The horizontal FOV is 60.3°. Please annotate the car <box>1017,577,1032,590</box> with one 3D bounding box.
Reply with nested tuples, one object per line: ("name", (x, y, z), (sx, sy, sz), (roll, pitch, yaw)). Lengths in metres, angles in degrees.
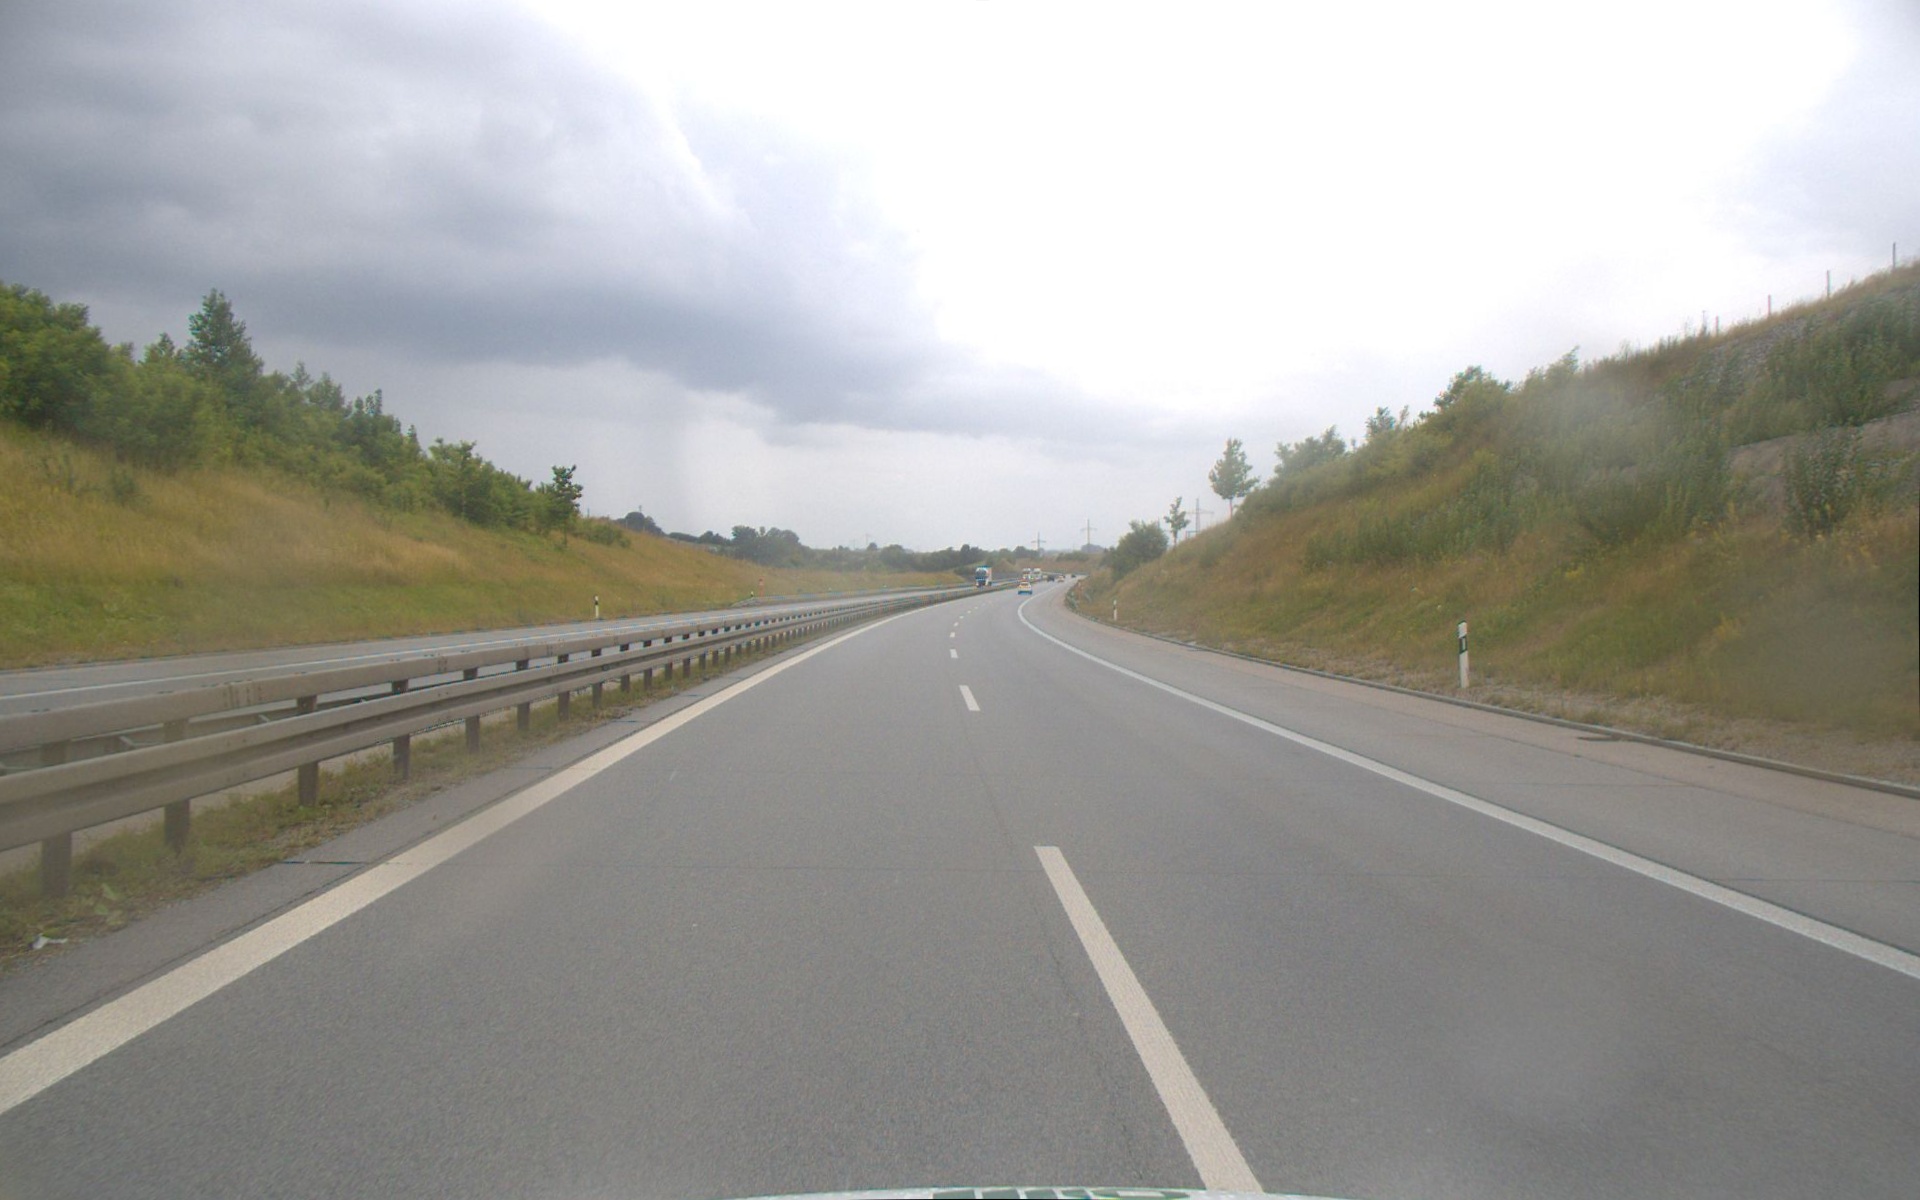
("car", (9.071, -2.317, 232.707), (1.915, 1.680, 4.002), (0, 0, 4))
